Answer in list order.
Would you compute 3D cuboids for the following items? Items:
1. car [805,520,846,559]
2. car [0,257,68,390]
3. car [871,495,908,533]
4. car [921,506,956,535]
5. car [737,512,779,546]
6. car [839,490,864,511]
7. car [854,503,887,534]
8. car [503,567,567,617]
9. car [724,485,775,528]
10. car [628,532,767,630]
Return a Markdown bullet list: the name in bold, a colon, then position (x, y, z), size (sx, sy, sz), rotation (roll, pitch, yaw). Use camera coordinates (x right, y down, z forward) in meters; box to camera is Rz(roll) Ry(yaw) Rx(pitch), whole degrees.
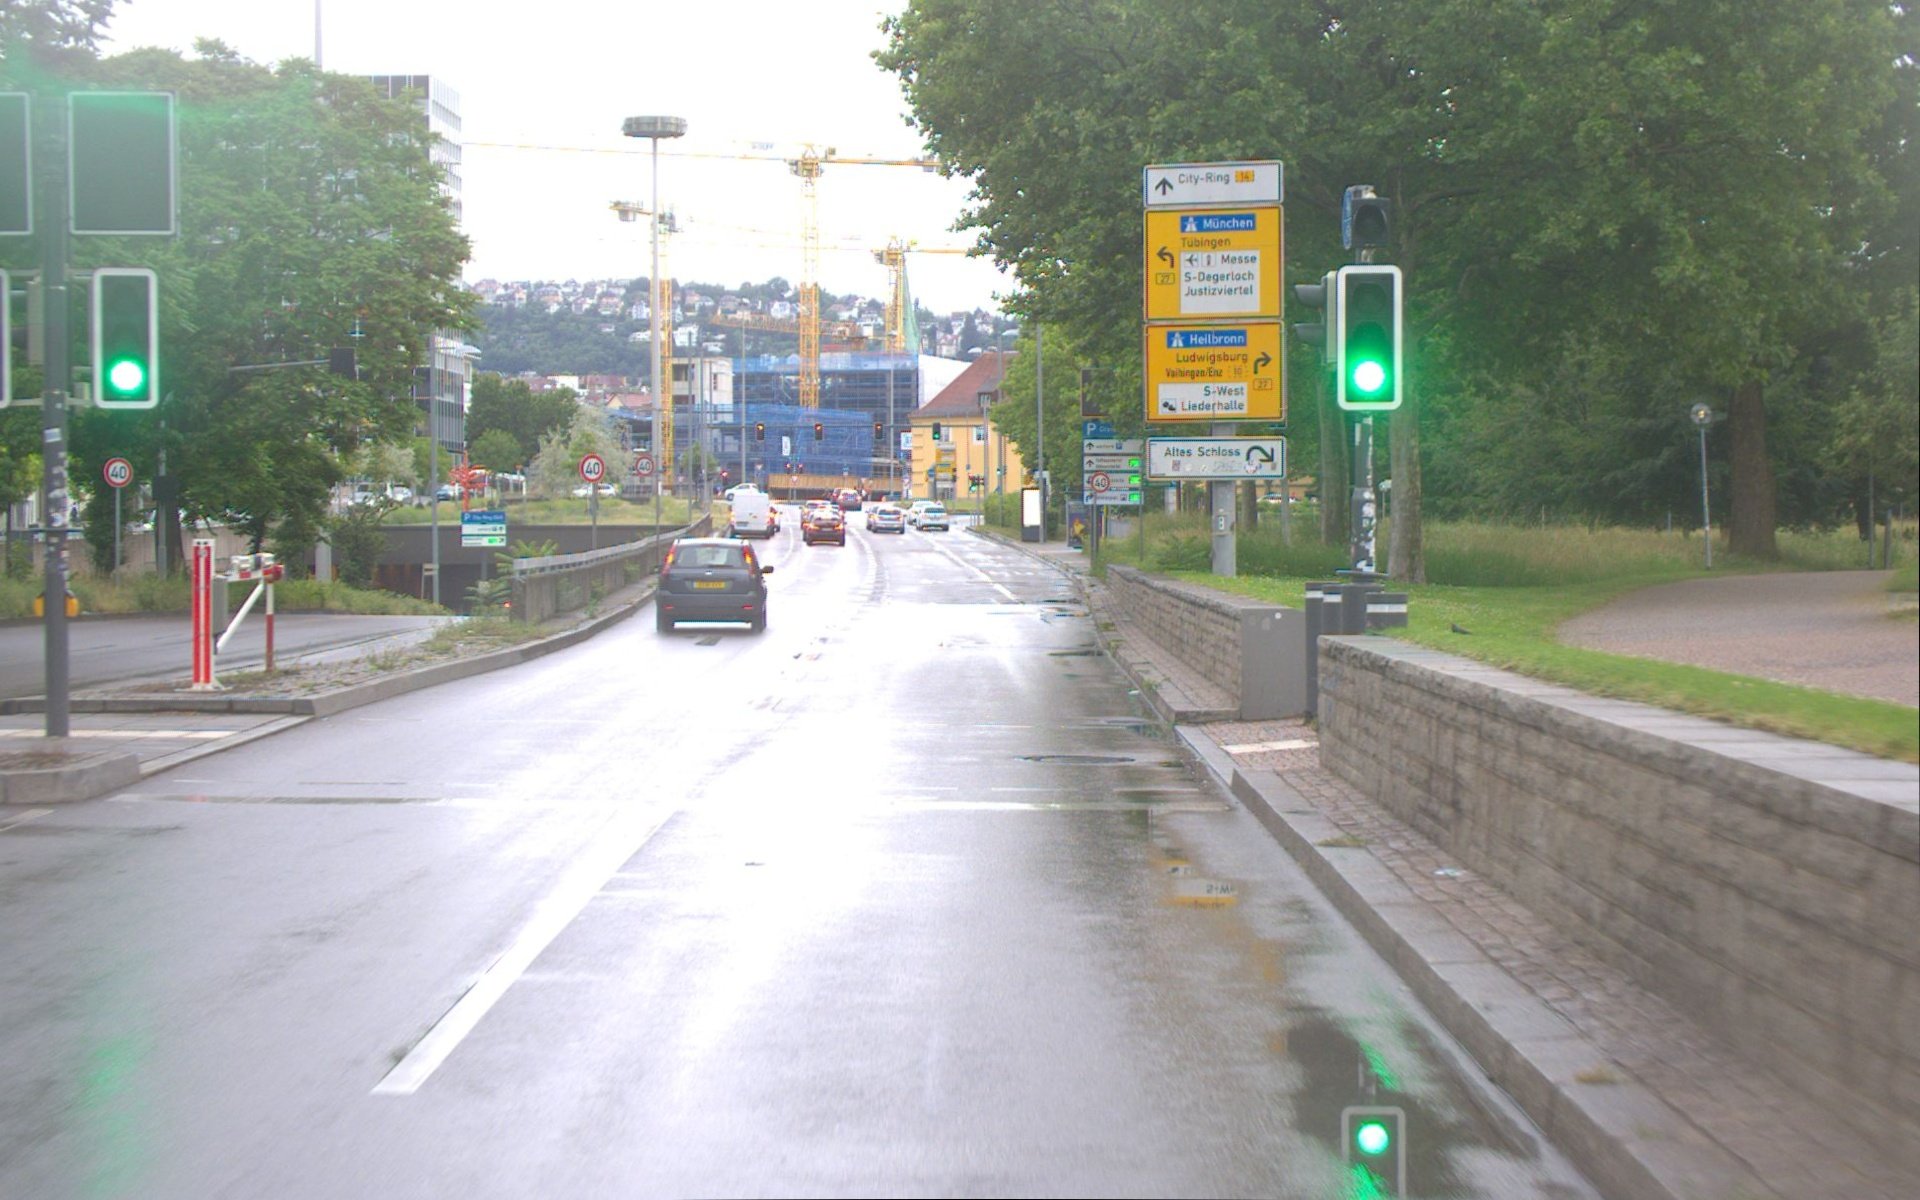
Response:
- **car**: position (-6.382, -2.872, 163.639), size (1.739, 1.765, 4.000), rotation (-1, 0, 0)
- **car**: position (-13.859, -3.870, 48.460), size (1.993, 1.626, 4.001), rotation (0, 1, -7)
- **car**: position (-3.927, -4.792, 192.156), size (1.987, 2.007, 4.000), rotation (-1, 0, -1)
- **car**: position (-1.252, -4.648, 201.964), size (1.993, 1.594, 4.000), rotation (-1, 0, 0)
- **car**: position (-11.208, -3.934, 190.950), size (1.993, 1.776, 4.000), rotation (-1, 0, 0)
- **car**: position (-8.183, -7.492, 259.440), size (1.721, 1.552, 3.584), rotation (0, 1, 0)
- **car**: position (-5.152, -4.666, 197.702), size (1.713, 1.684, 3.849), rotation (-1, 0, 0)
- **car**: position (-16.012, -0.312, 129.681), size (1.993, 1.774, 4.001), rotation (0, 1, -1)
- **car**: position (-10.610, -4.723, 173.732), size (2.220, 2.007, 4.000), rotation (-2, 0, 0)
- **car**: position (-4.108, -0.288, 53.395), size (1.843, 1.411, 3.840), rotation (-2, 0, -9)
